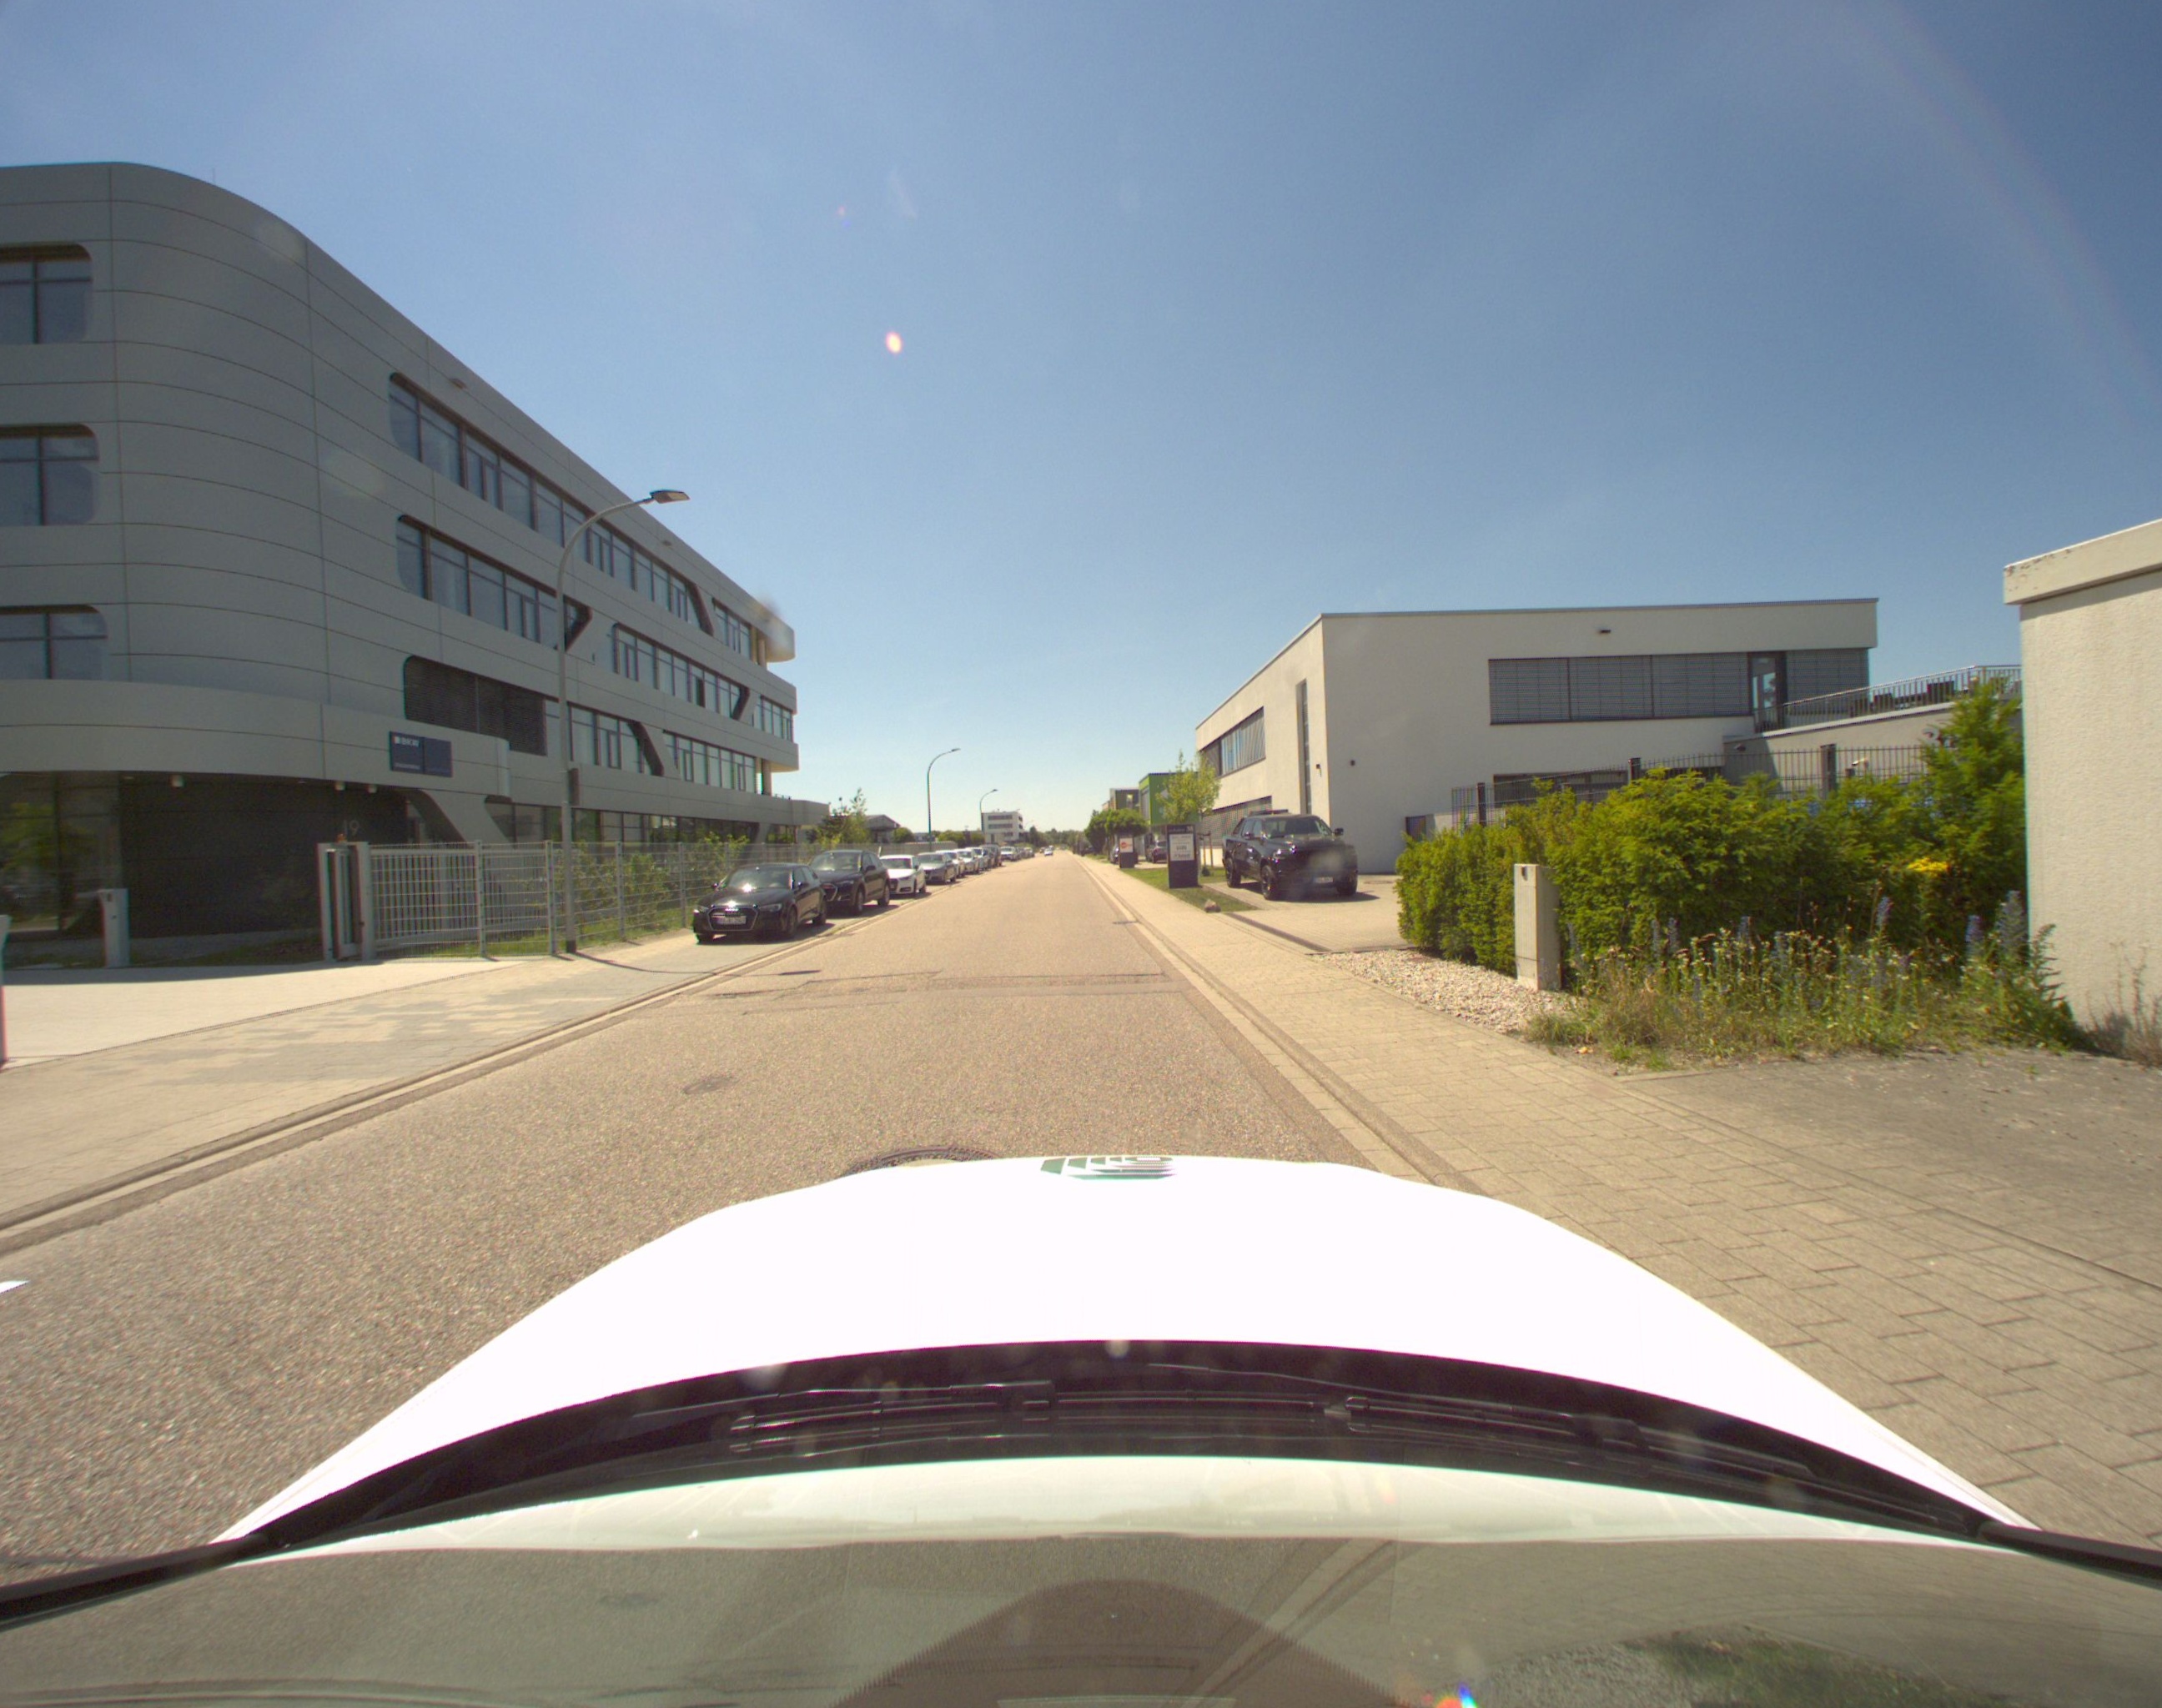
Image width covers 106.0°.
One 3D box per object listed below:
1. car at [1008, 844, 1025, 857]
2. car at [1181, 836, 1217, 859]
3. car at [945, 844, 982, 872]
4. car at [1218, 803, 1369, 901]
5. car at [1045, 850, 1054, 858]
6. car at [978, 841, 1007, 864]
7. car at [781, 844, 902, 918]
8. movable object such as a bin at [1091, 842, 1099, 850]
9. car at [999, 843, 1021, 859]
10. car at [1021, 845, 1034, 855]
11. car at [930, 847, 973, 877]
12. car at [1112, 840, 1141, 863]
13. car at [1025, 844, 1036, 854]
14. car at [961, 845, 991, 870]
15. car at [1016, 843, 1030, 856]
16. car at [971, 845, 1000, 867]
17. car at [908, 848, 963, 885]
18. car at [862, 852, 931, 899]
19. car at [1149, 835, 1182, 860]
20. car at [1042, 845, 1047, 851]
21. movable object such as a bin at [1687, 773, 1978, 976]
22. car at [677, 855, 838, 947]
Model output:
[{"bbox_3d":[-7.659,-0.422,97.215,1.758,1.517,4.377,-2,1,-2],"label":"car"},{"bbox_3d":[8.062,-0.448,55.895,1.718,1.449,4.020,-2,1,-1],"label":"car"},{"bbox_3d":[-7.003,0.226,48.967,1.699,1.536,4.569,-2,1,-2],"label":"car"},{"bbox_3d":[5.143,-0.196,20.695,1.989,2.013,5.795,-4,3,-3],"label":"car"},{"bbox_3d":[-6.212,0.008,162.137,1.700,1.411,4.780,-2,1,-2],"label":"car"},{"bbox_3d":[-6.989,-0.156,64.540,1.797,1.719,4.620,-2,1,-1],"label":"car"},{"bbox_3d":[-6.386,0.628,22.357,1.764,1.651,4.851,-3,2,0],"label":"car"},{"bbox_3d":[2.582,-1.461,152.517,1.331,1.459,0.948,-4,0,-2],"label":"movable object such as a bin"},{"bbox_3d":[-7.386,-0.296,84.626,1.781,1.542,4.365,-2,1,1],"label":"car"},{"bbox_3d":[-8.329,-0.634,127.147,1.852,1.480,4.227,-2,0,-1],"label":"car"},{"bbox_3d":[-6.930,0.383,43.982,1.699,1.443,4.436,-2,1,-2],"label":"car"},{"bbox_3d":[3.116,-0.203,56.452,1.687,1.427,4.244,-2,1,-1],"label":"car"},{"bbox_3d":[-8.412,-0.754,136.267,1.765,1.592,4.356,-2,0,-2],"label":"car"},{"bbox_3d":[-7.062,0.198,54.871,1.630,1.536,3.655,-2,1,-2],"label":"car"},{"bbox_3d":[-7.865,-0.589,110.905,1.786,1.607,4.459,-2,0,-2],"label":"car"},{"bbox_3d":[-6.969,0.107,59.763,1.629,1.500,3.971,-2,1,0],"label":"car"},{"bbox_3d":[-6.577,0.520,37.241,1.679,1.386,4.638,-3,2,-1],"label":"car"},{"bbox_3d":[-6.360,0.693,28.495,1.696,1.386,3.932,-3,2,-4],"label":"car"},{"bbox_3d":[5.807,-0.459,56.356,1.718,1.633,4.020,-2,1,-1],"label":"car"},{"bbox_3d":[-10.756,-1.805,241.730,1.462,1.489,3.206,-3,1,-1],"label":"car"},{"bbox_3d":[6.380,0.149,7.016,1.380,1.522,1.169,-4,1,-2],"label":"movable object such as a bin"},{"bbox_3d":[-6.414,0.845,16.684,1.766,1.466,4.181,-3,2,-4],"label":"car"}]
